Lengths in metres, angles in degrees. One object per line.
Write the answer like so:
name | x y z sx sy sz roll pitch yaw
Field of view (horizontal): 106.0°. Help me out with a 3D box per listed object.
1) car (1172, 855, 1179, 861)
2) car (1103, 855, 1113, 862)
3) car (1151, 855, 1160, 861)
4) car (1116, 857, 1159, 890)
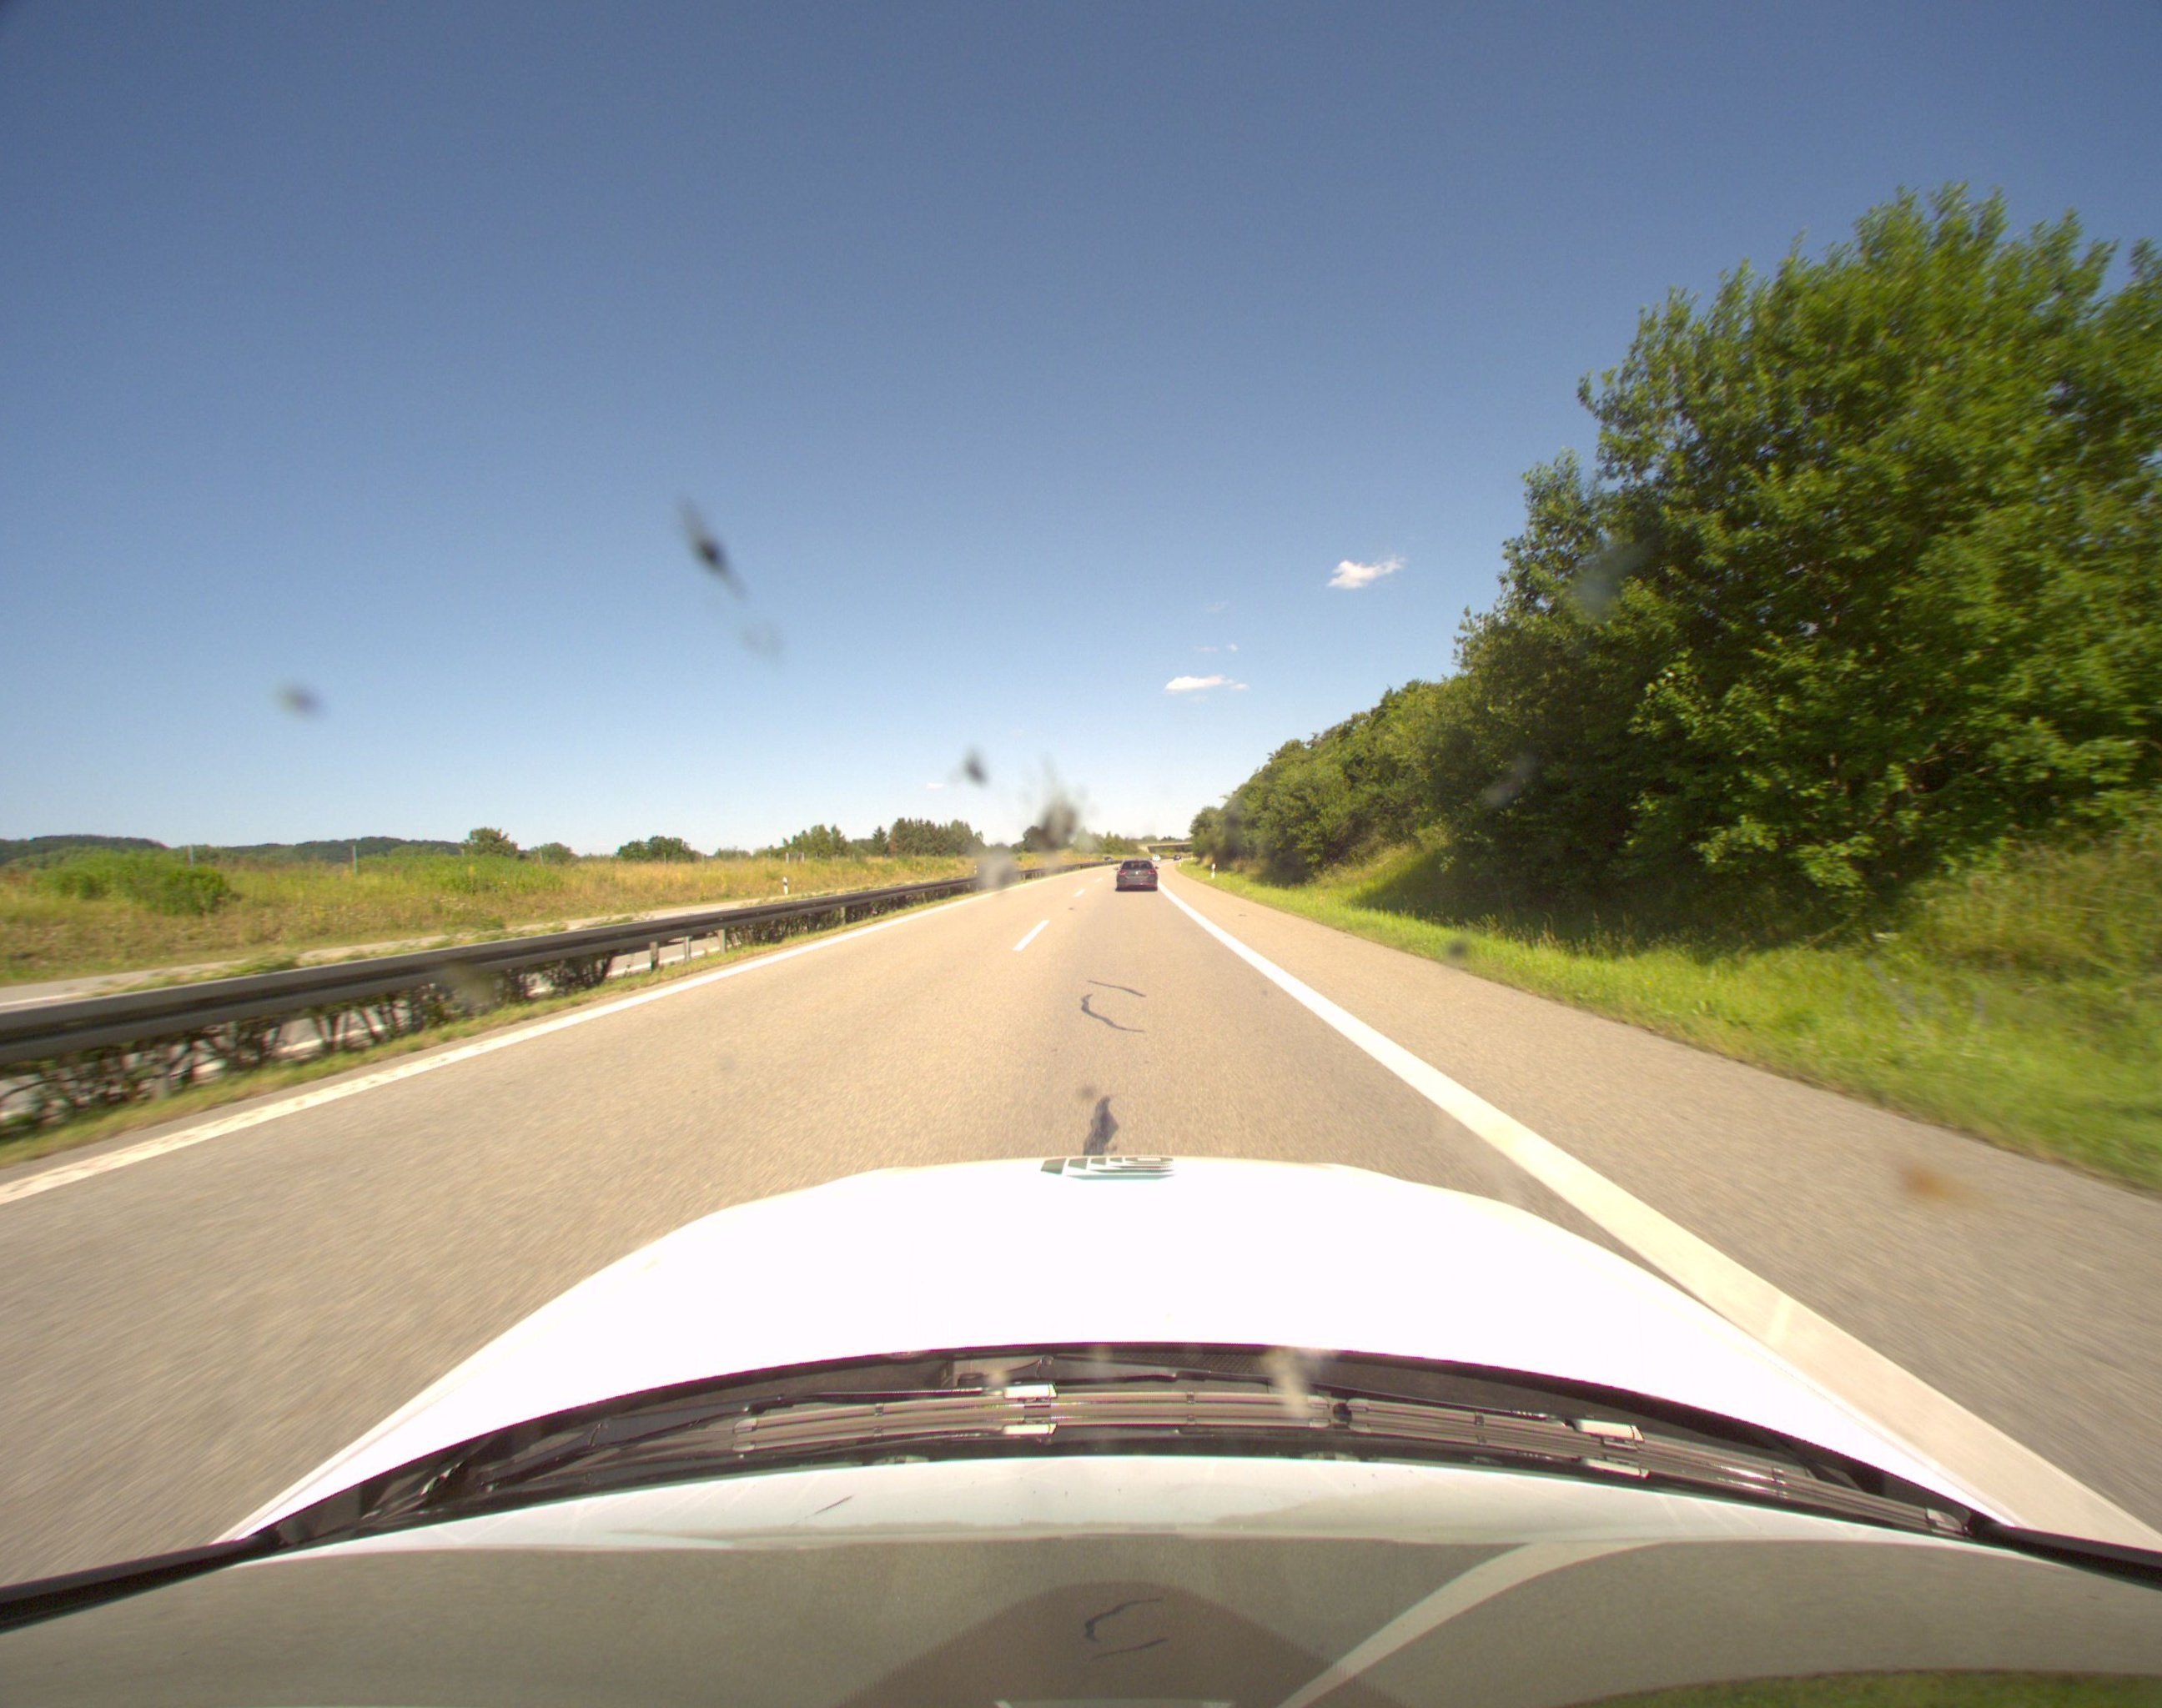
car | 24.015 0.989 206.126 1.701 1.387 3.362 0 -2 8
car | 6.363 1.132 193.261 1.821 1.552 4.476 -1 0 8
car | 17.371 0.884 190.481 1.997 1.345 4.005 0 -2 5
car | 2.542 0.865 36.169 1.782 1.345 4.005 0 -2 5
